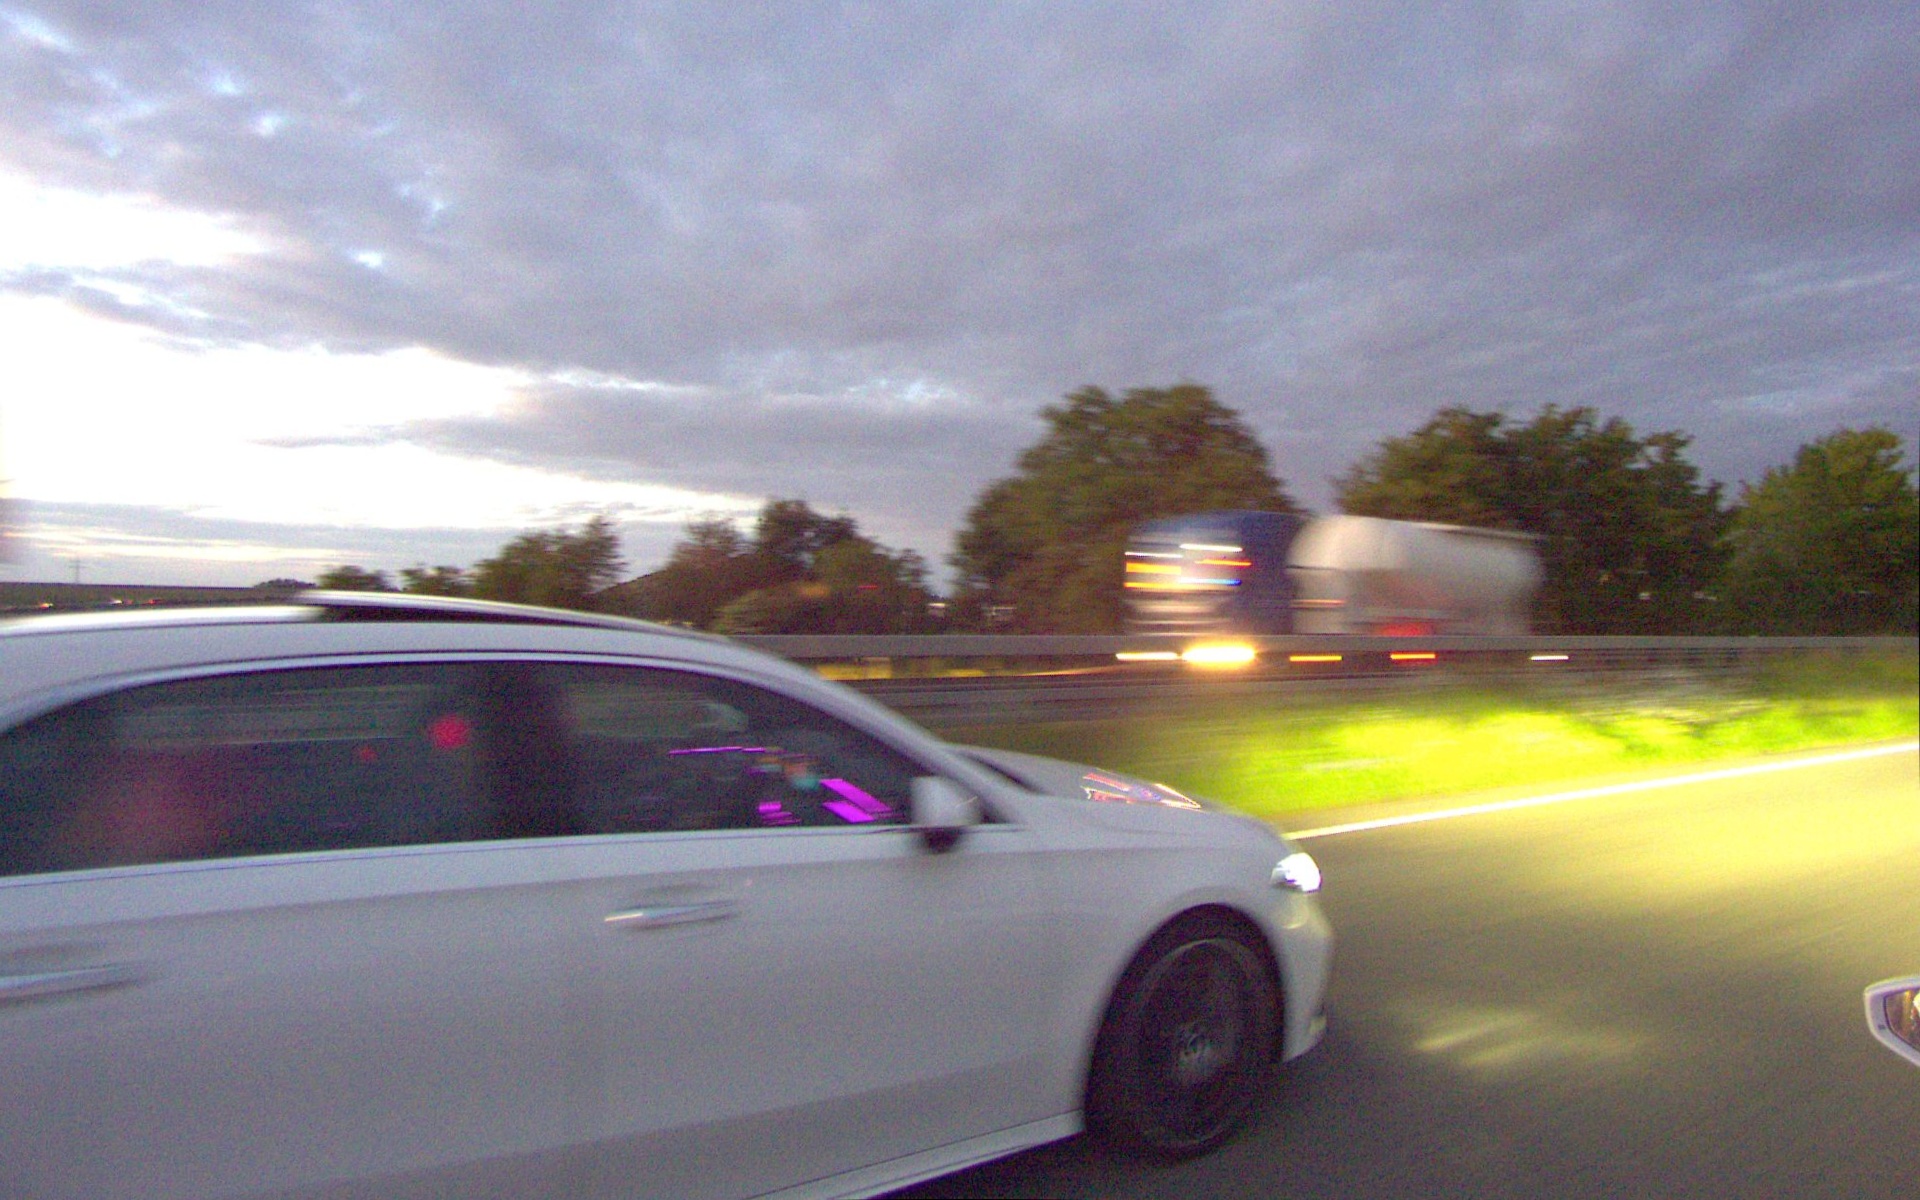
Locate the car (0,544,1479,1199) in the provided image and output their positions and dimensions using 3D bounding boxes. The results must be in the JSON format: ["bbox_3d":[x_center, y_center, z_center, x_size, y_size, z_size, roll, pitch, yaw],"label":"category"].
[{"bbox_3d":[-0.708,0.704,2.732,4.527,1.510,1.633,2,0,-31],"label":"car"}]

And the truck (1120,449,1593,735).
[{"bbox_3d":[9.622,0.012,23.258,12.464,5.326,3.186,2,0,-31],"label":"truck"}]
